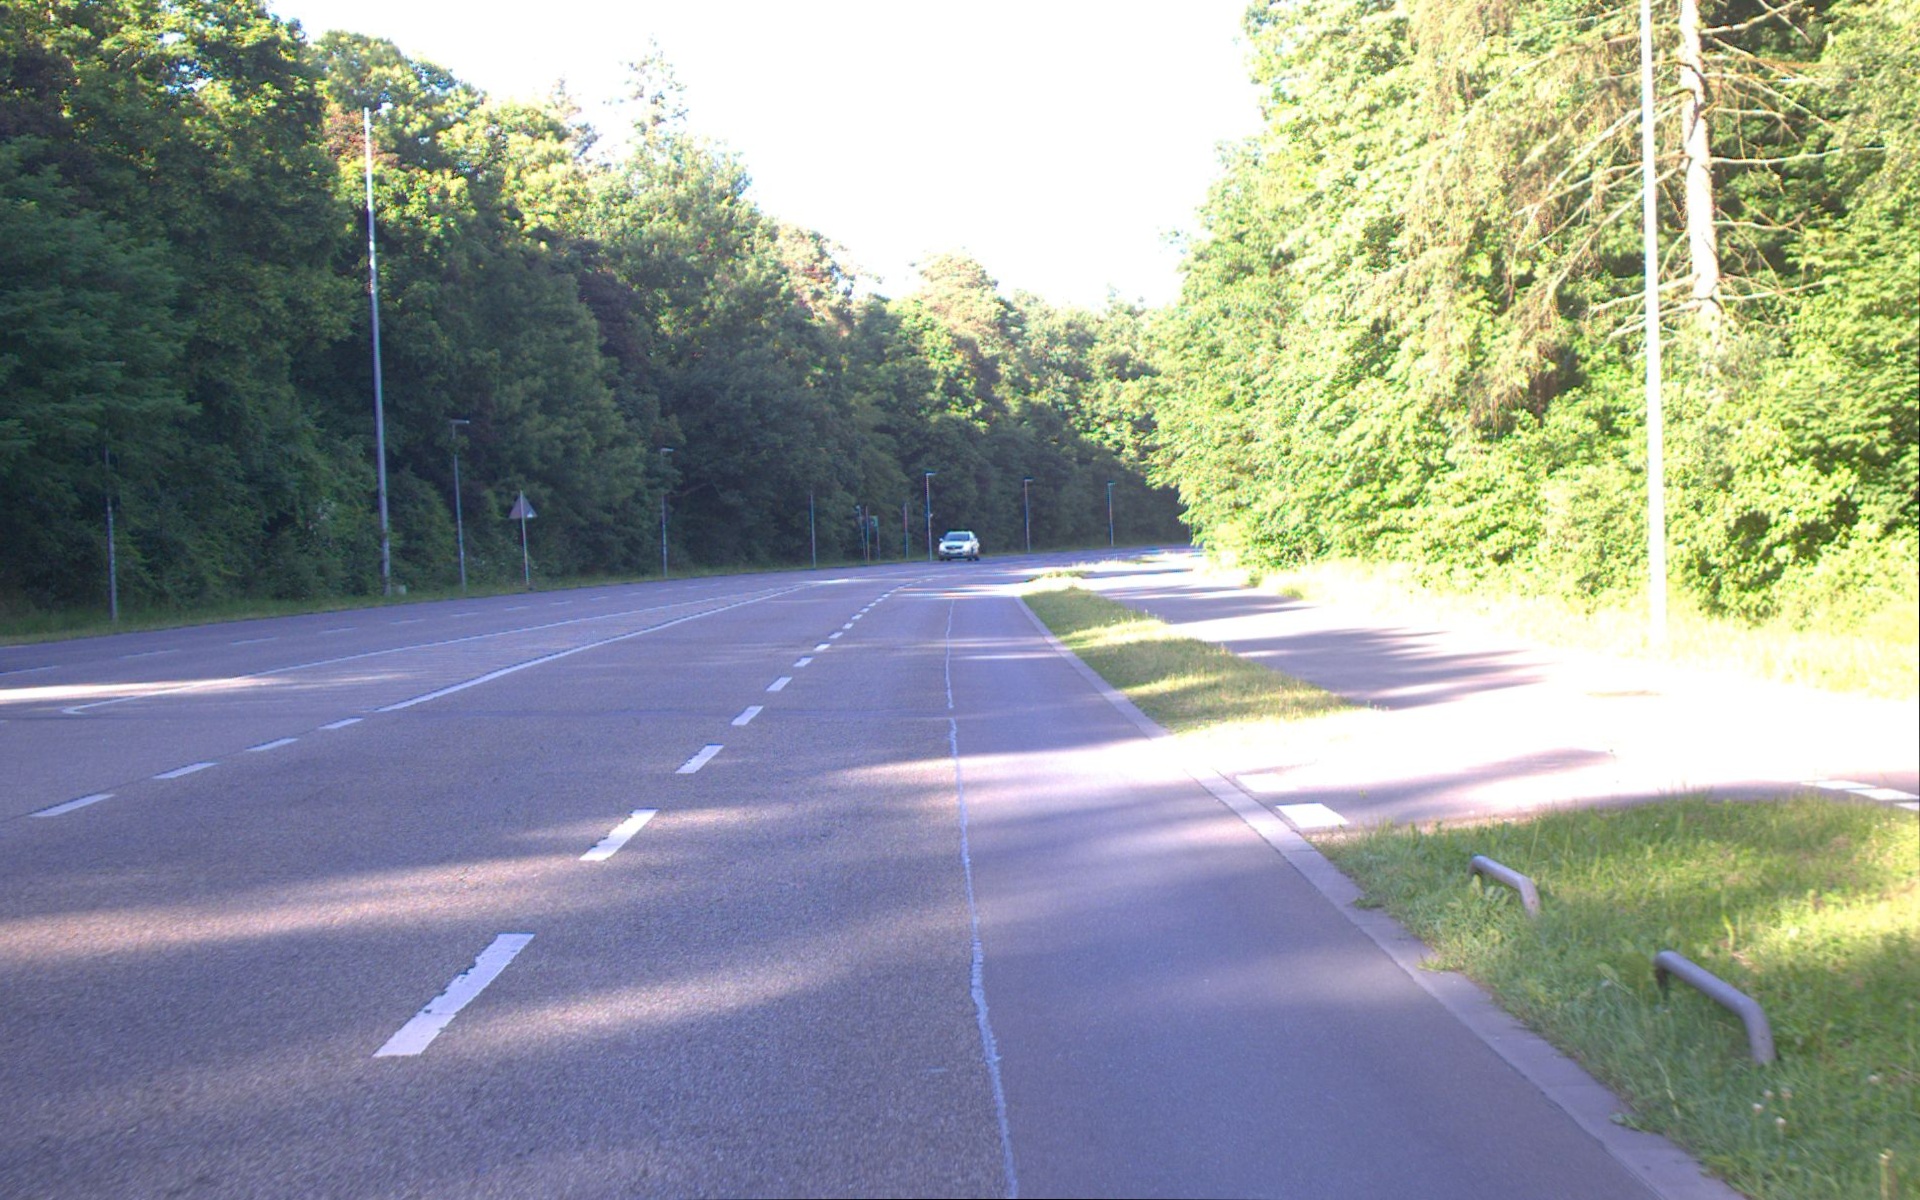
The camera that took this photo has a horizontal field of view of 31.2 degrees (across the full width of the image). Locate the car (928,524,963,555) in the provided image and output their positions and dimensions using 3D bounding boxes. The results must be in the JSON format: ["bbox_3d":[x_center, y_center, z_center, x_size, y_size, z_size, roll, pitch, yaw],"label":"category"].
[{"bbox_3d":[-0.777,-3.386,192.146,1.908,1.658,4.734,-1,1,0],"label":"car"}]

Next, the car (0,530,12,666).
[{"bbox_3d":[-12.157,0.016,38.576,1.825,1.584,4.351,-1,1,0],"label":"car"}]
